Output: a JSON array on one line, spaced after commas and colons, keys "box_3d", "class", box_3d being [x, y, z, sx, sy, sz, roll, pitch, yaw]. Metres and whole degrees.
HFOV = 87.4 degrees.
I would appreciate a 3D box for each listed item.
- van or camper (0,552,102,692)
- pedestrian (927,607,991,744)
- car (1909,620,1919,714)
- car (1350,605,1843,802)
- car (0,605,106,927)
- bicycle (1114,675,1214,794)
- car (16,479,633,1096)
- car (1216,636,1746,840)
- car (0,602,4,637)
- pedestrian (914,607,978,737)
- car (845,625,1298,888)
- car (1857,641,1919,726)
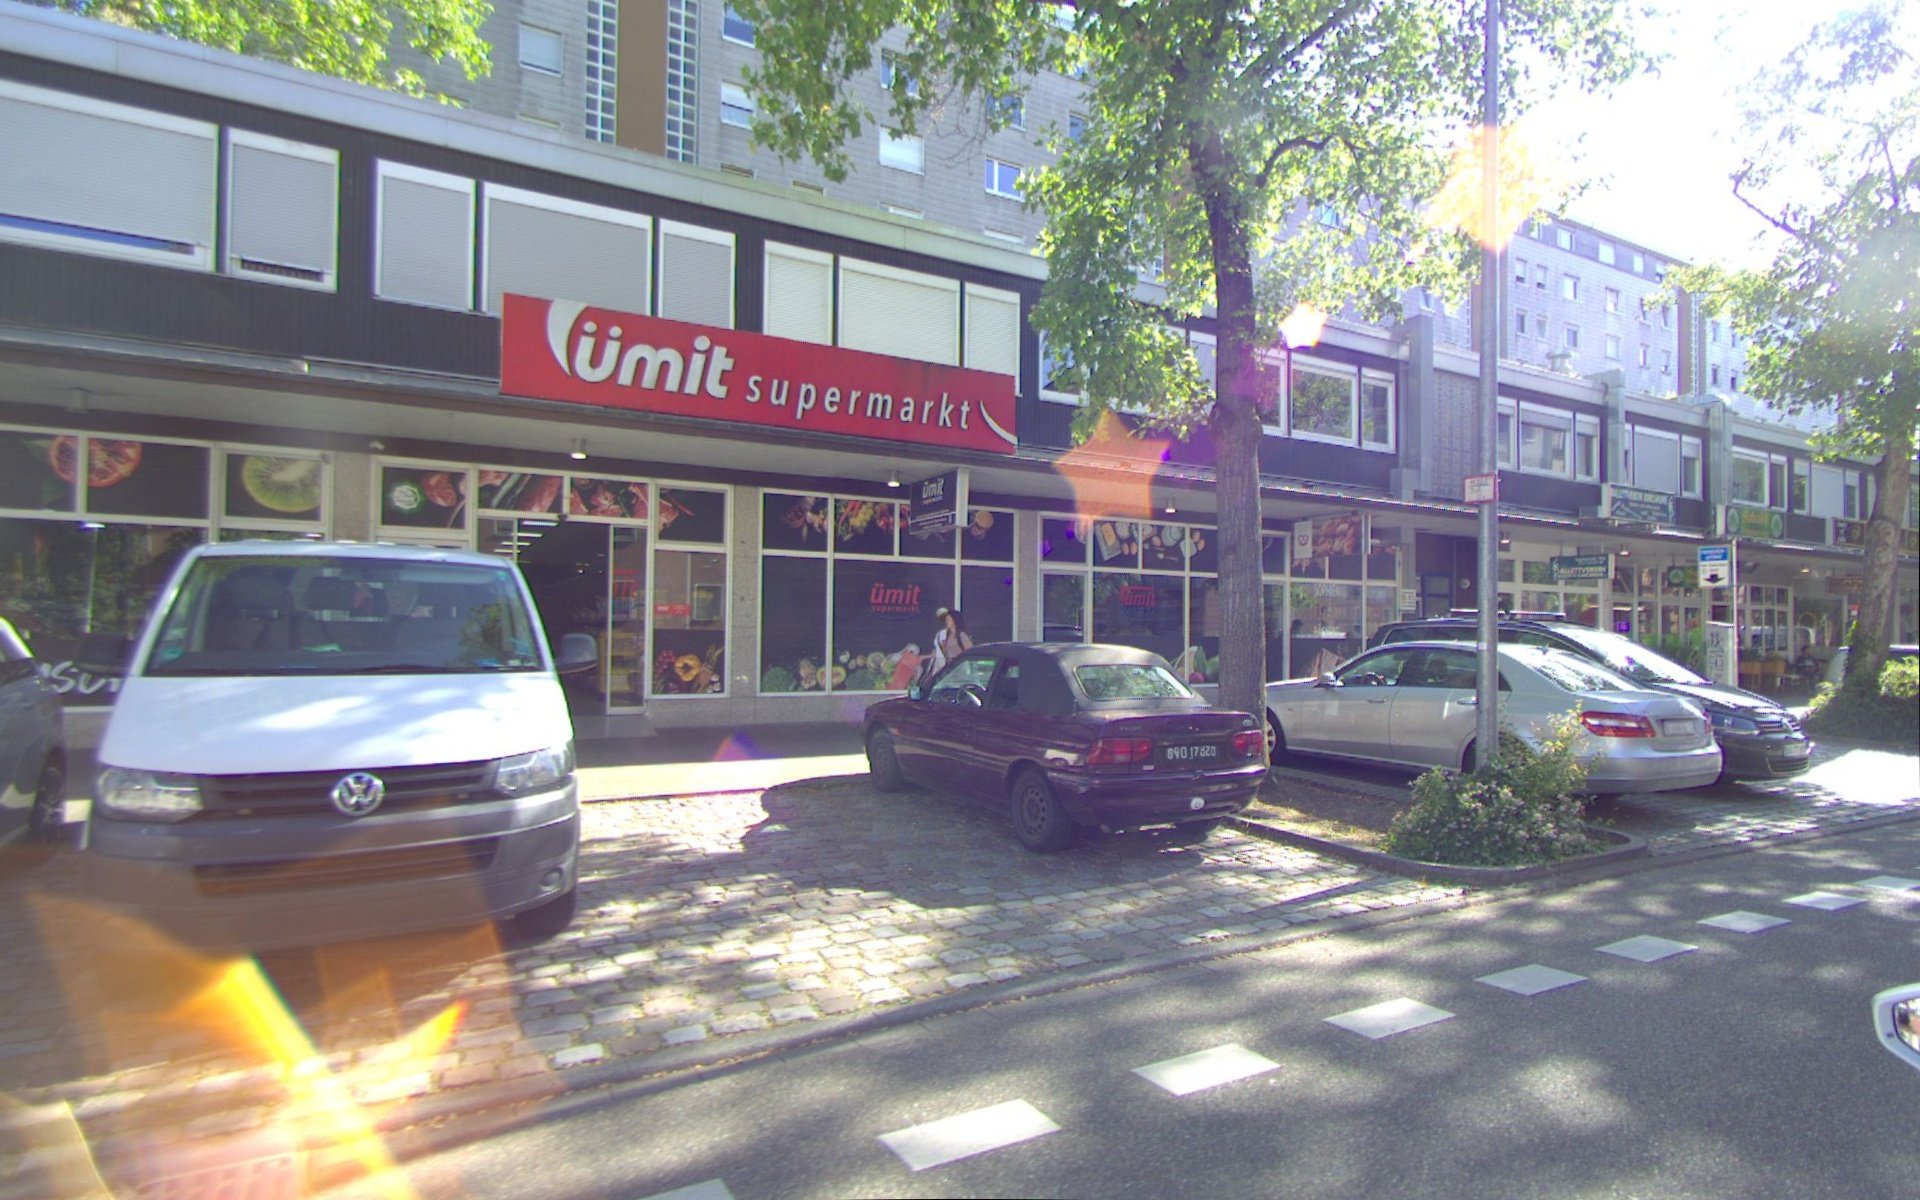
[{"box_3d": [-20.655, 0.530, 18.634, 6.841, 2.608, 1.986, -2, 0, -29], "class": "van or camper"}, {"box_3d": [-0.015, 0.936, 12.670, 0.626, 1.673, 0.528, 1, -2, -29], "class": "pedestrian"}, {"box_3d": [22.329, 1.414, 19.687, 1.642, 2.007, 5.189, 1, -1, -29], "class": "car"}, {"box_3d": [7.095, 1.013, 11.794, 1.815, 1.828, 4.606, 2, -1, -29], "class": "car"}, {"box_3d": [-5.501, 0.819, 4.477, 1.737, 1.634, 4.271, 2, -2, -29], "class": "car"}, {"box_3d": [2.040, 1.323, 10.138, 0.393, 1.082, 1.150, 1, -2, -25], "class": "bicycle"}, {"box_3d": [-3.438, 0.629, 5.847, 1.937, 2.033, 4.706, 2, 0, -30], "class": "car"}, {"box_3d": [4.953, 1.173, 10.339, 1.806, 1.513, 4.634, 2, -2, -30], "class": "car"}, {"box_3d": [-51.723, 0.999, 52.232, 1.744, 1.878, 4.297, 1, -2, -28], "class": "car"}, {"box_3d": [-0.184, 0.938, 13.294, 0.626, 1.673, 0.627, 1, -2, -29], "class": "pedestrian"}, {"box_3d": [0.626, 1.017, 8.315, 1.697, 1.513, 4.012, 2, -1, -29], "class": "car"}, {"box_3d": [19.979, 1.635, 18.723, 1.642, 1.631, 4.606, 2, -1, -29], "class": "car"}]
